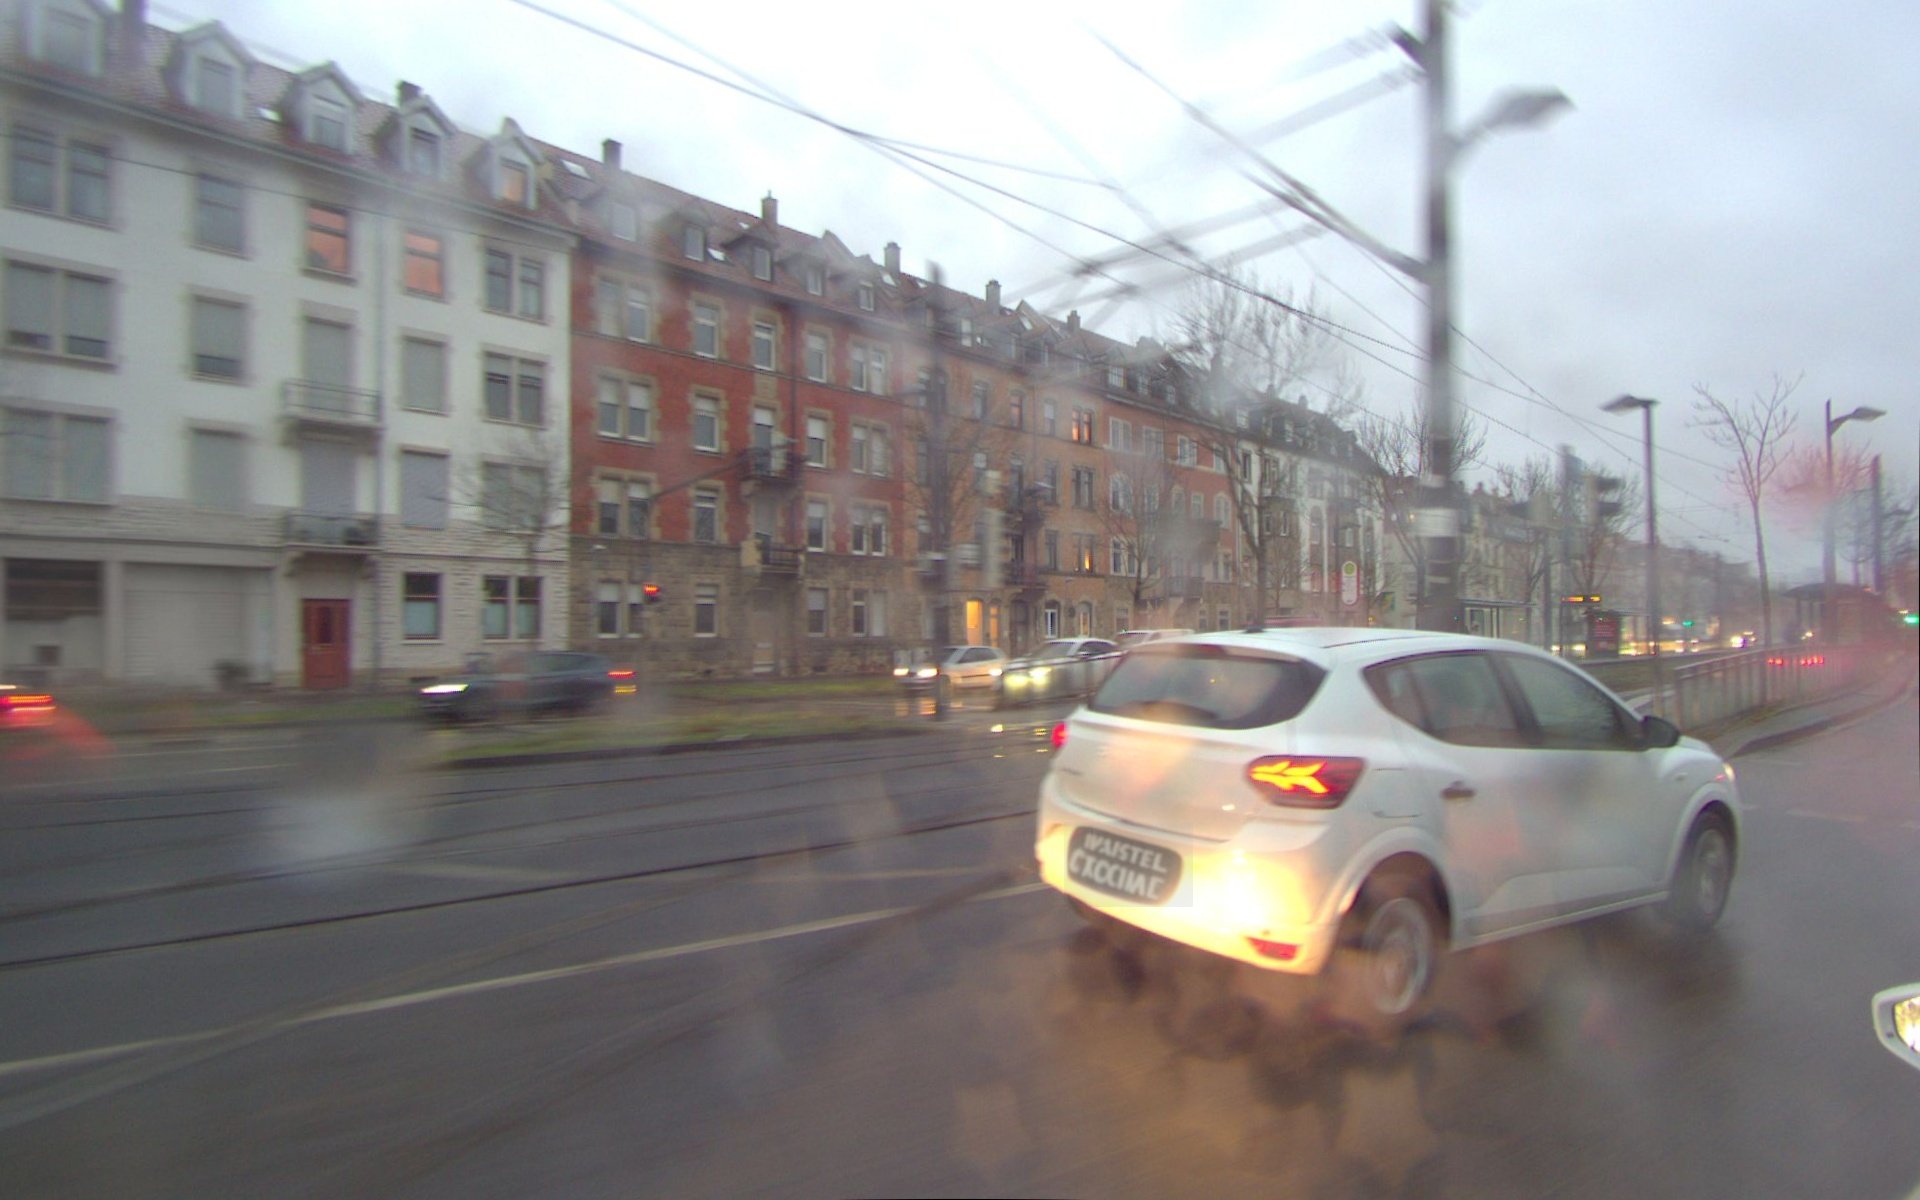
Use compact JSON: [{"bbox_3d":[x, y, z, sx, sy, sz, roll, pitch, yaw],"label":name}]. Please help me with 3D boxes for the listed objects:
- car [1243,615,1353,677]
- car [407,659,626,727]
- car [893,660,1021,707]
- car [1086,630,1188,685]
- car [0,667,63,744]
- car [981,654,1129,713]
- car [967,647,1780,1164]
[{"bbox_3d":[13.537,1.809,40.011,5.231,2.339,1.974,2,-3,-44],"label":"car"},{"bbox_3d":[-9.473,1.935,21.665,4.059,1.243,1.522,2,-3,-44],"label":"car"},{"bbox_3d":[-0.031,2.505,30.573,1.520,1.243,4.063,-3,-3,44],"label":"car"},{"bbox_3d":[6.696,2.129,37.785,1.973,1.966,3.920,-3,-3,43],"label":"car"},{"bbox_3d":[-16.321,1.661,15.394,3.759,1.149,1.586,2,-3,-40],"label":"car"},{"bbox_3d":[2.449,2.032,25.136,1.520,1.262,4.063,-3,-3,43],"label":"car"},{"bbox_3d":[2.133,1.018,4.845,3.955,1.506,1.618,0,-2,-32],"label":"car"}]
